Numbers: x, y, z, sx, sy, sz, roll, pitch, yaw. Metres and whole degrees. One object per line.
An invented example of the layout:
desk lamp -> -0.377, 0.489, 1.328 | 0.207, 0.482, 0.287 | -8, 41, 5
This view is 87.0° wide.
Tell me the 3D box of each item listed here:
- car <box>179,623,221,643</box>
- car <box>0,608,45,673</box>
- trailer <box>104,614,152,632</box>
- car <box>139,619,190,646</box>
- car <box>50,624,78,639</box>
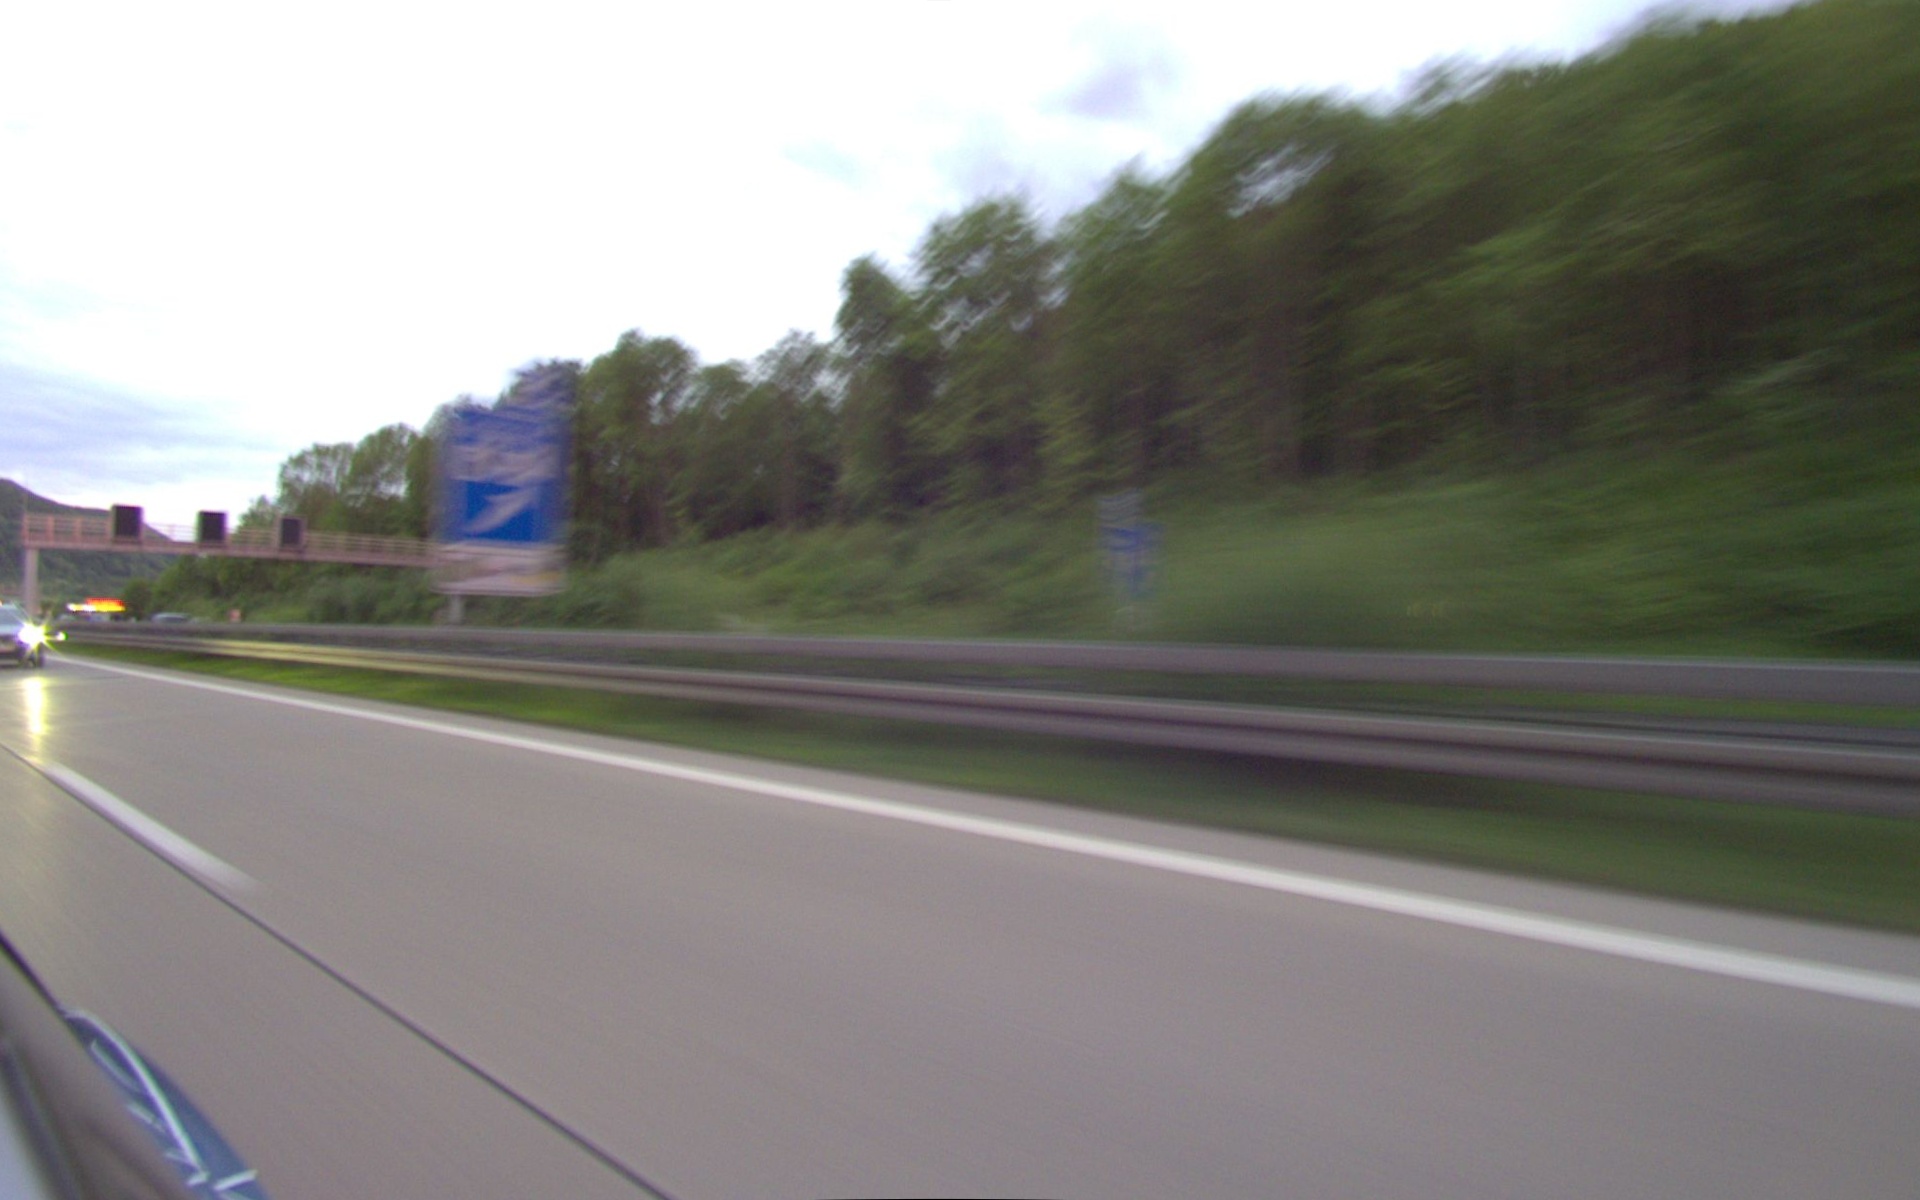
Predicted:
car -> -59.128, 2.519, 78.709 | 4.388, 1.493, 1.744 | -1, -1, 41
car -> -26.707, 1.065, 27.650 | 5.637, 1.672, 1.869 | -1, -1, 41
trailer -> -171.011, 4.715, 208.213 | 3.018, 3.707, 13.384 | 0, -1, -19
car -> -51.568, 2.054, 65.576 | 4.456, 1.707, 1.744 | -1, -1, 41
car -> -106.398, 3.706, 120.131 | 4.773, 1.651, 1.829 | -1, -1, 41
